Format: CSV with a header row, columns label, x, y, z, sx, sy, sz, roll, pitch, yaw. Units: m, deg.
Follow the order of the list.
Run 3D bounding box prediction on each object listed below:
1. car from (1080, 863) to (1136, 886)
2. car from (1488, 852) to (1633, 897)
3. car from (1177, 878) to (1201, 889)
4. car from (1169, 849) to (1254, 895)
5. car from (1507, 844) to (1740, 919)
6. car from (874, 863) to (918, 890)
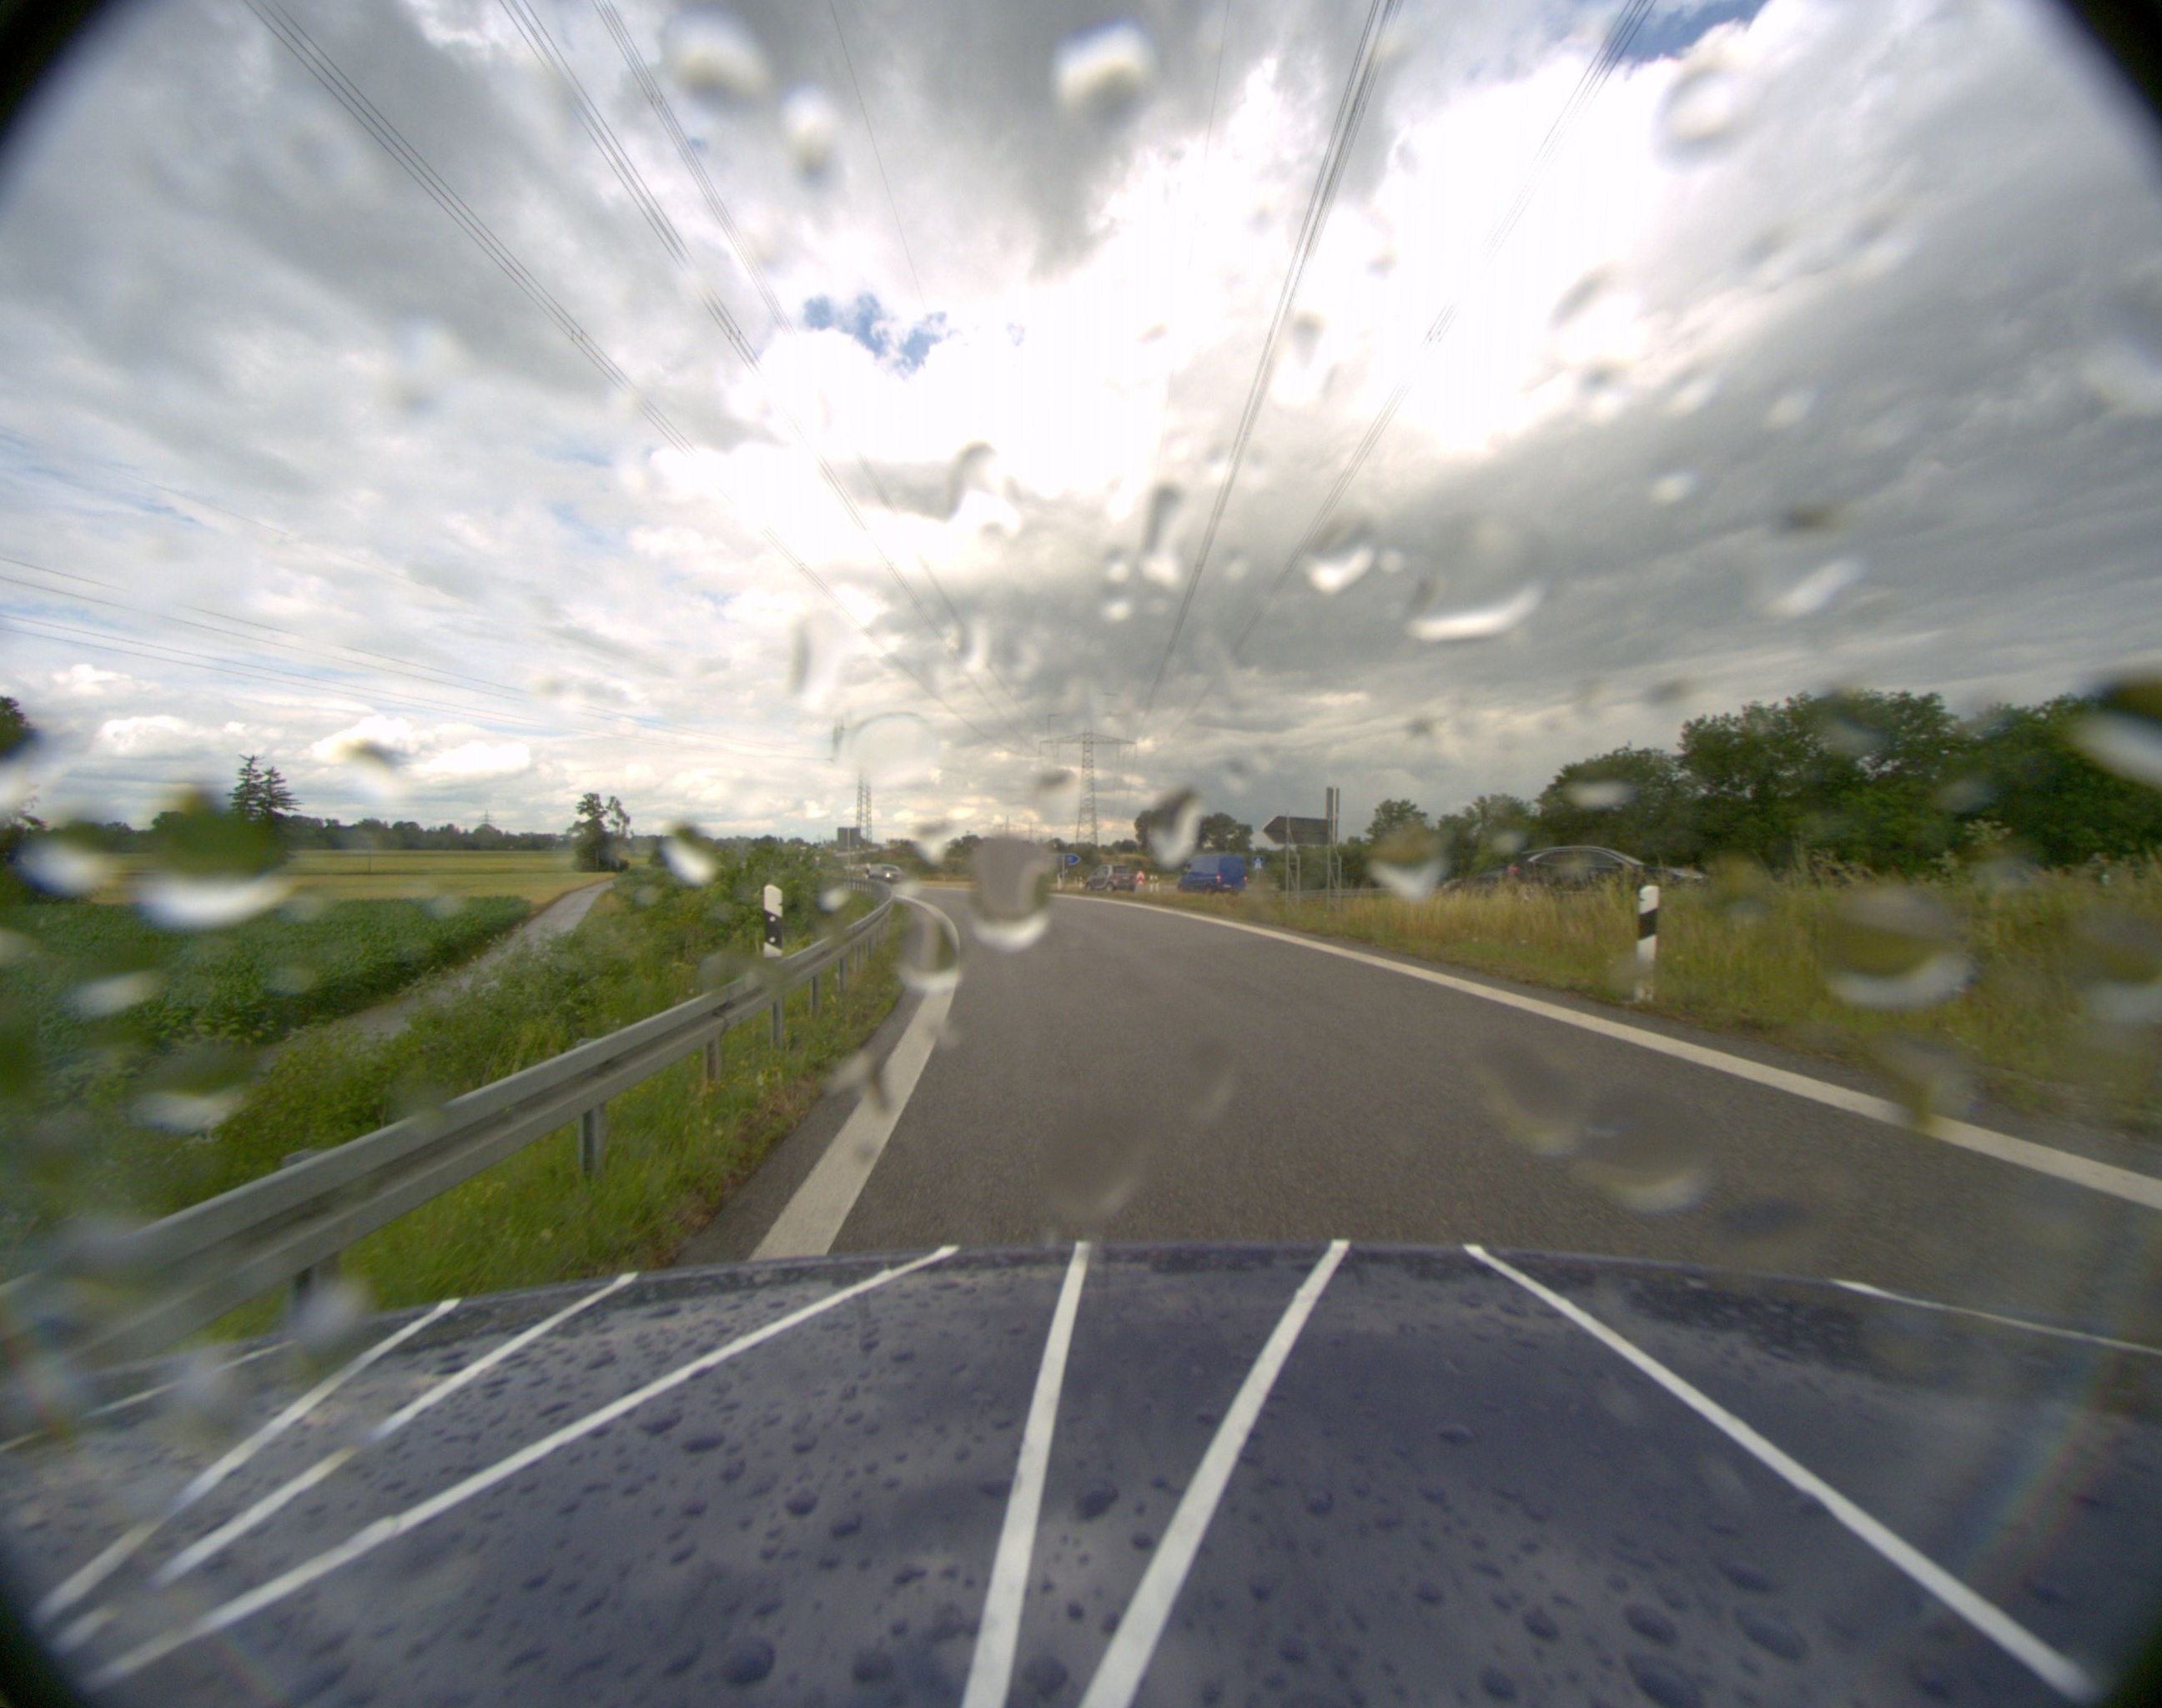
label,x,y,z,sx,sy,sz,roll,pitch,yaw
car,1.478,1.102,41.876,1.438,1.169,3.126,-2,1,-36
car,15.340,0.631,24.429,1.483,1.342,3.704,-1,0,-44
car,13.986,3.828,98.665,1.737,1.430,3.781,2,-1,30
car,8.106,1.080,48.014,2.336,2.709,6.272,1,-1,-22
car,13.972,0.659,19.822,2.004,1.709,4.582,1,-1,-39
car,-13.138,1.564,53.823,2.003,1.742,3.991,-1,0,-29
